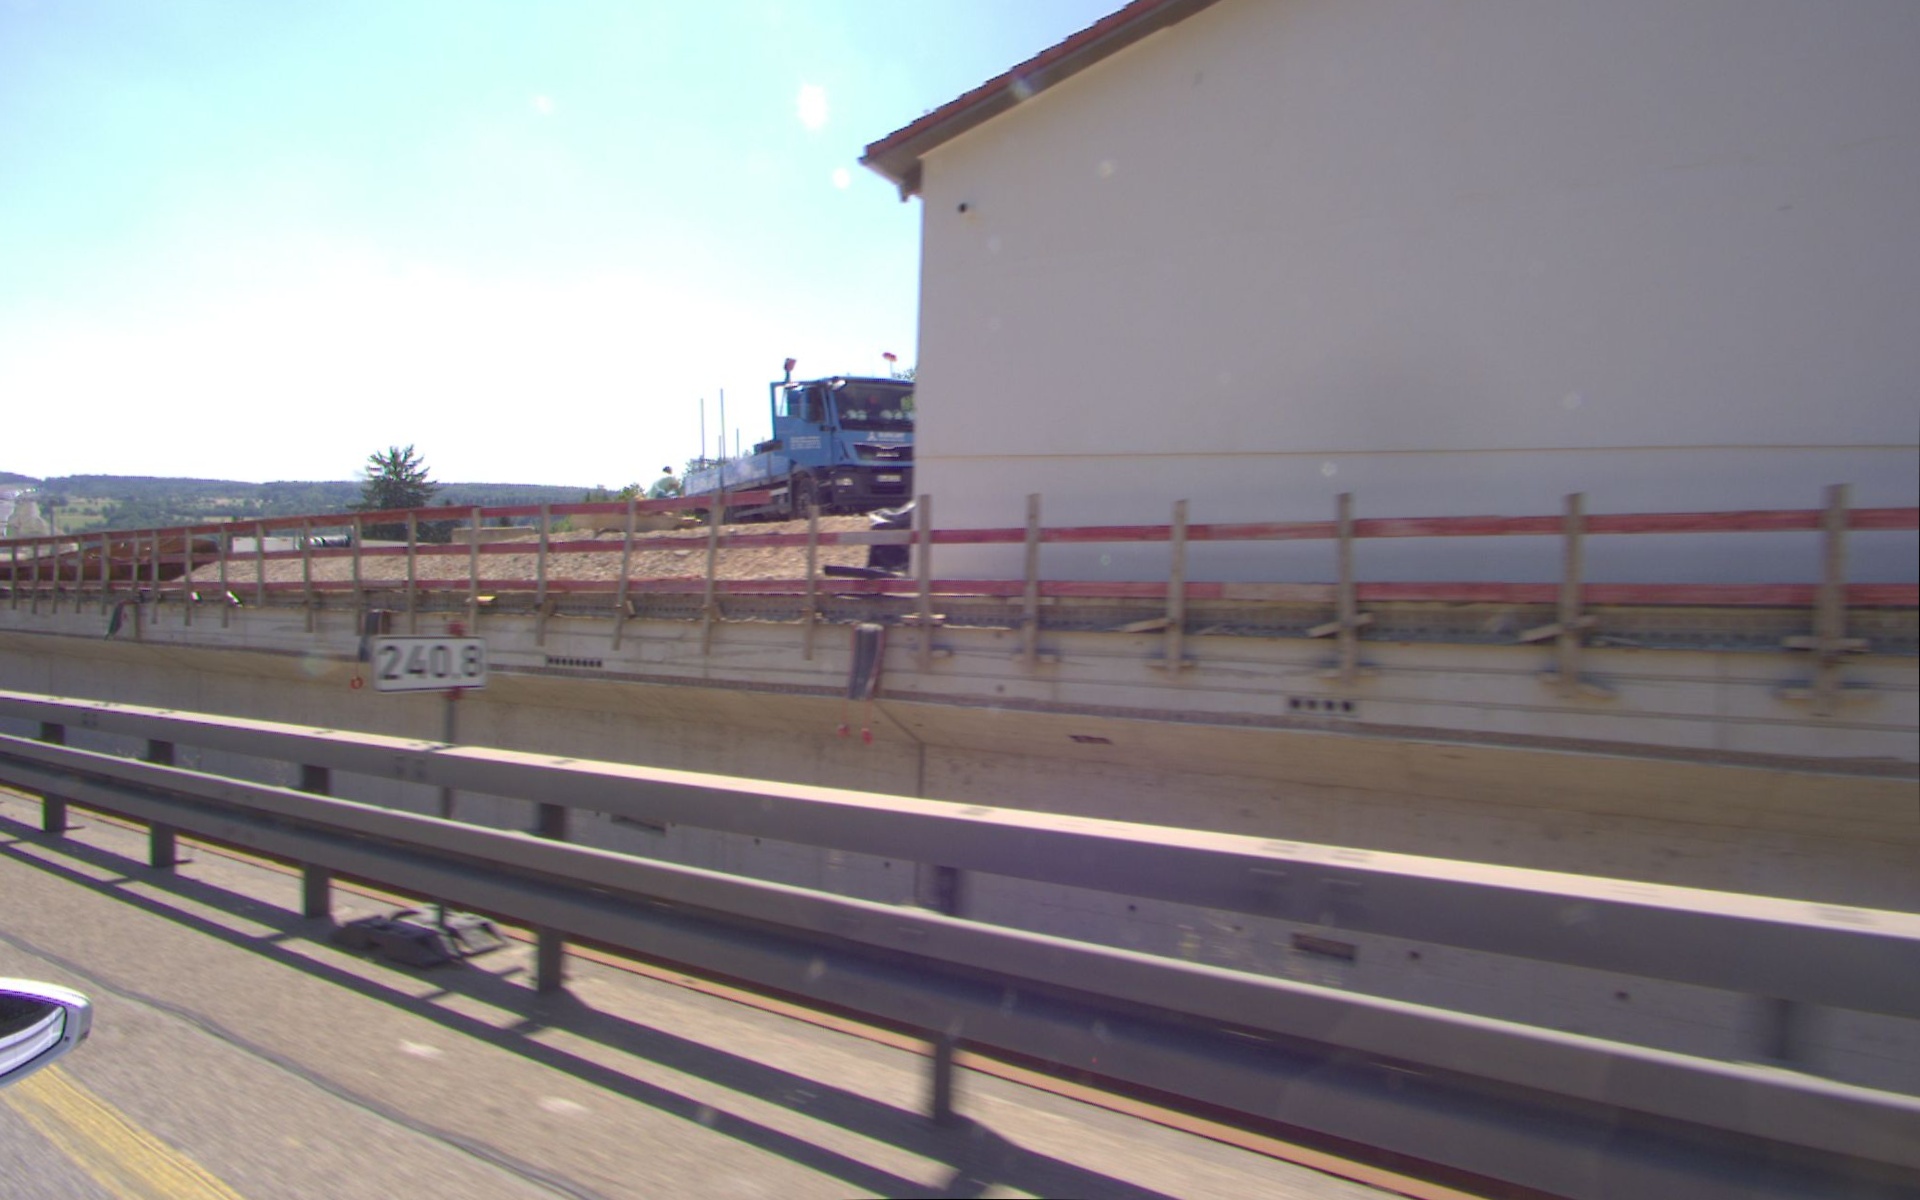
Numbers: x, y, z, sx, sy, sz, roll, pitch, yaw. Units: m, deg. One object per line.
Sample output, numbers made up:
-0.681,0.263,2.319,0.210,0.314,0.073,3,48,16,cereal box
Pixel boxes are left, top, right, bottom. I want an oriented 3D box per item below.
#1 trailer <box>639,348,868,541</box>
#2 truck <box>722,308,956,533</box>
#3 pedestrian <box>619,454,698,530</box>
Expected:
-5.697,-3.576,25.913,2.684,3.744,8.936,1,1,-33,trailer
-2.789,-3.488,21.451,2.684,3.744,5.673,1,1,-33,truck
-5.460,-1.930,18.148,0.982,1.165,1.016,-1,-2,39,pedestrian
